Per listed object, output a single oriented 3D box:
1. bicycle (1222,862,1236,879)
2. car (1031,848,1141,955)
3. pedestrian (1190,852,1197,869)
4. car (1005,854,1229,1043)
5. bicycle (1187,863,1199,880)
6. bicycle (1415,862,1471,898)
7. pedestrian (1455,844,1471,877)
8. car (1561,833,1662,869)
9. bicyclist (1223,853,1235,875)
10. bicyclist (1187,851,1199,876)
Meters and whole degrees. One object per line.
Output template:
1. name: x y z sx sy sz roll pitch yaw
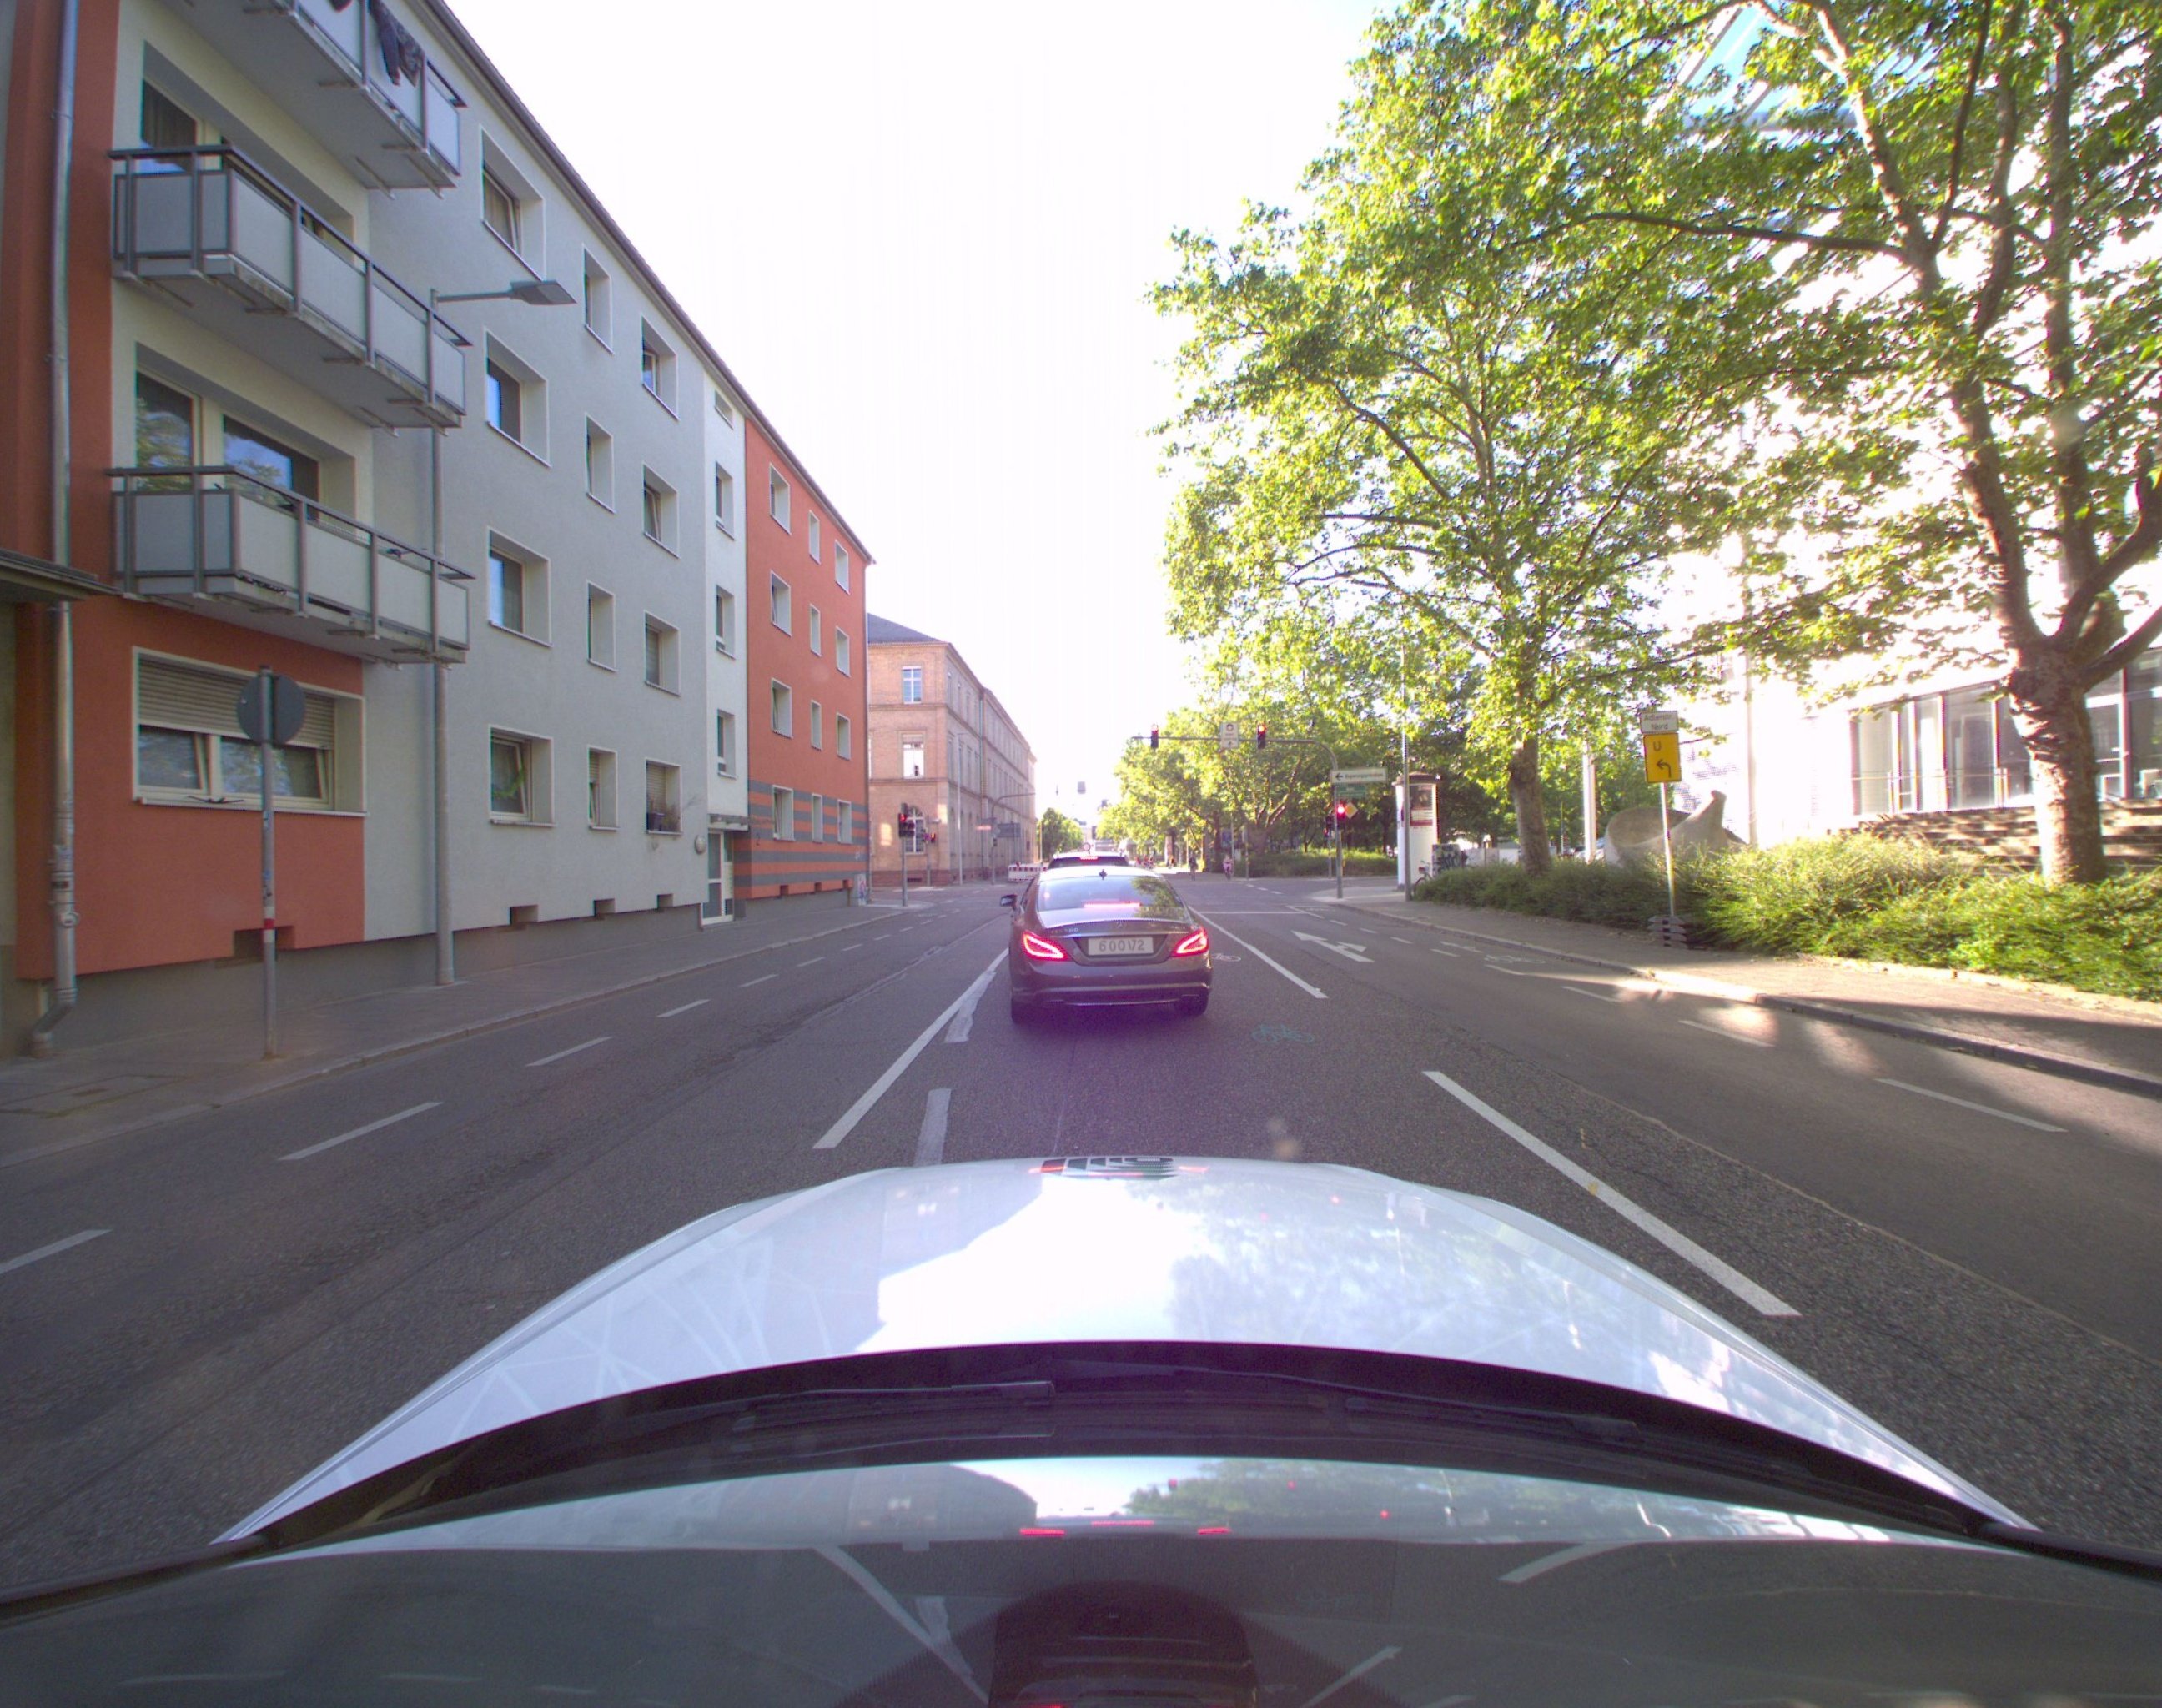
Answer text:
1. bicycle: 9.306 1.024 51.157 0.598 0.985 1.882 1 0 2
2. car: 0.103 0.744 14.579 1.676 1.625 3.841 -1 0 0
3. pedestrian: 10.835 0.636 78.383 0.557 1.678 0.565 -1 0 1
4. car: 0.118 0.774 8.808 1.818 1.477 4.345 -1 0 -5
5. bicycle: 7.064 1.100 51.467 0.608 1.026 1.732 0 0 2
6. bicycle: 10.844 0.774 24.415 1.411 1.037 0.538 -1 0 -2
7. pedestrian: 21.077 0.347 44.928 0.617 1.784 0.631 -1 0 4
8. car: 27.703 -0.139 42.659 3.975 1.784 2.004 -1 0 6
9. bicyclist: 9.303 0.622 51.133 0.598 1.402 0.931 1 0 1
10. bicyclist: 7.065 0.594 51.349 0.608 1.516 0.890 0 0 1
